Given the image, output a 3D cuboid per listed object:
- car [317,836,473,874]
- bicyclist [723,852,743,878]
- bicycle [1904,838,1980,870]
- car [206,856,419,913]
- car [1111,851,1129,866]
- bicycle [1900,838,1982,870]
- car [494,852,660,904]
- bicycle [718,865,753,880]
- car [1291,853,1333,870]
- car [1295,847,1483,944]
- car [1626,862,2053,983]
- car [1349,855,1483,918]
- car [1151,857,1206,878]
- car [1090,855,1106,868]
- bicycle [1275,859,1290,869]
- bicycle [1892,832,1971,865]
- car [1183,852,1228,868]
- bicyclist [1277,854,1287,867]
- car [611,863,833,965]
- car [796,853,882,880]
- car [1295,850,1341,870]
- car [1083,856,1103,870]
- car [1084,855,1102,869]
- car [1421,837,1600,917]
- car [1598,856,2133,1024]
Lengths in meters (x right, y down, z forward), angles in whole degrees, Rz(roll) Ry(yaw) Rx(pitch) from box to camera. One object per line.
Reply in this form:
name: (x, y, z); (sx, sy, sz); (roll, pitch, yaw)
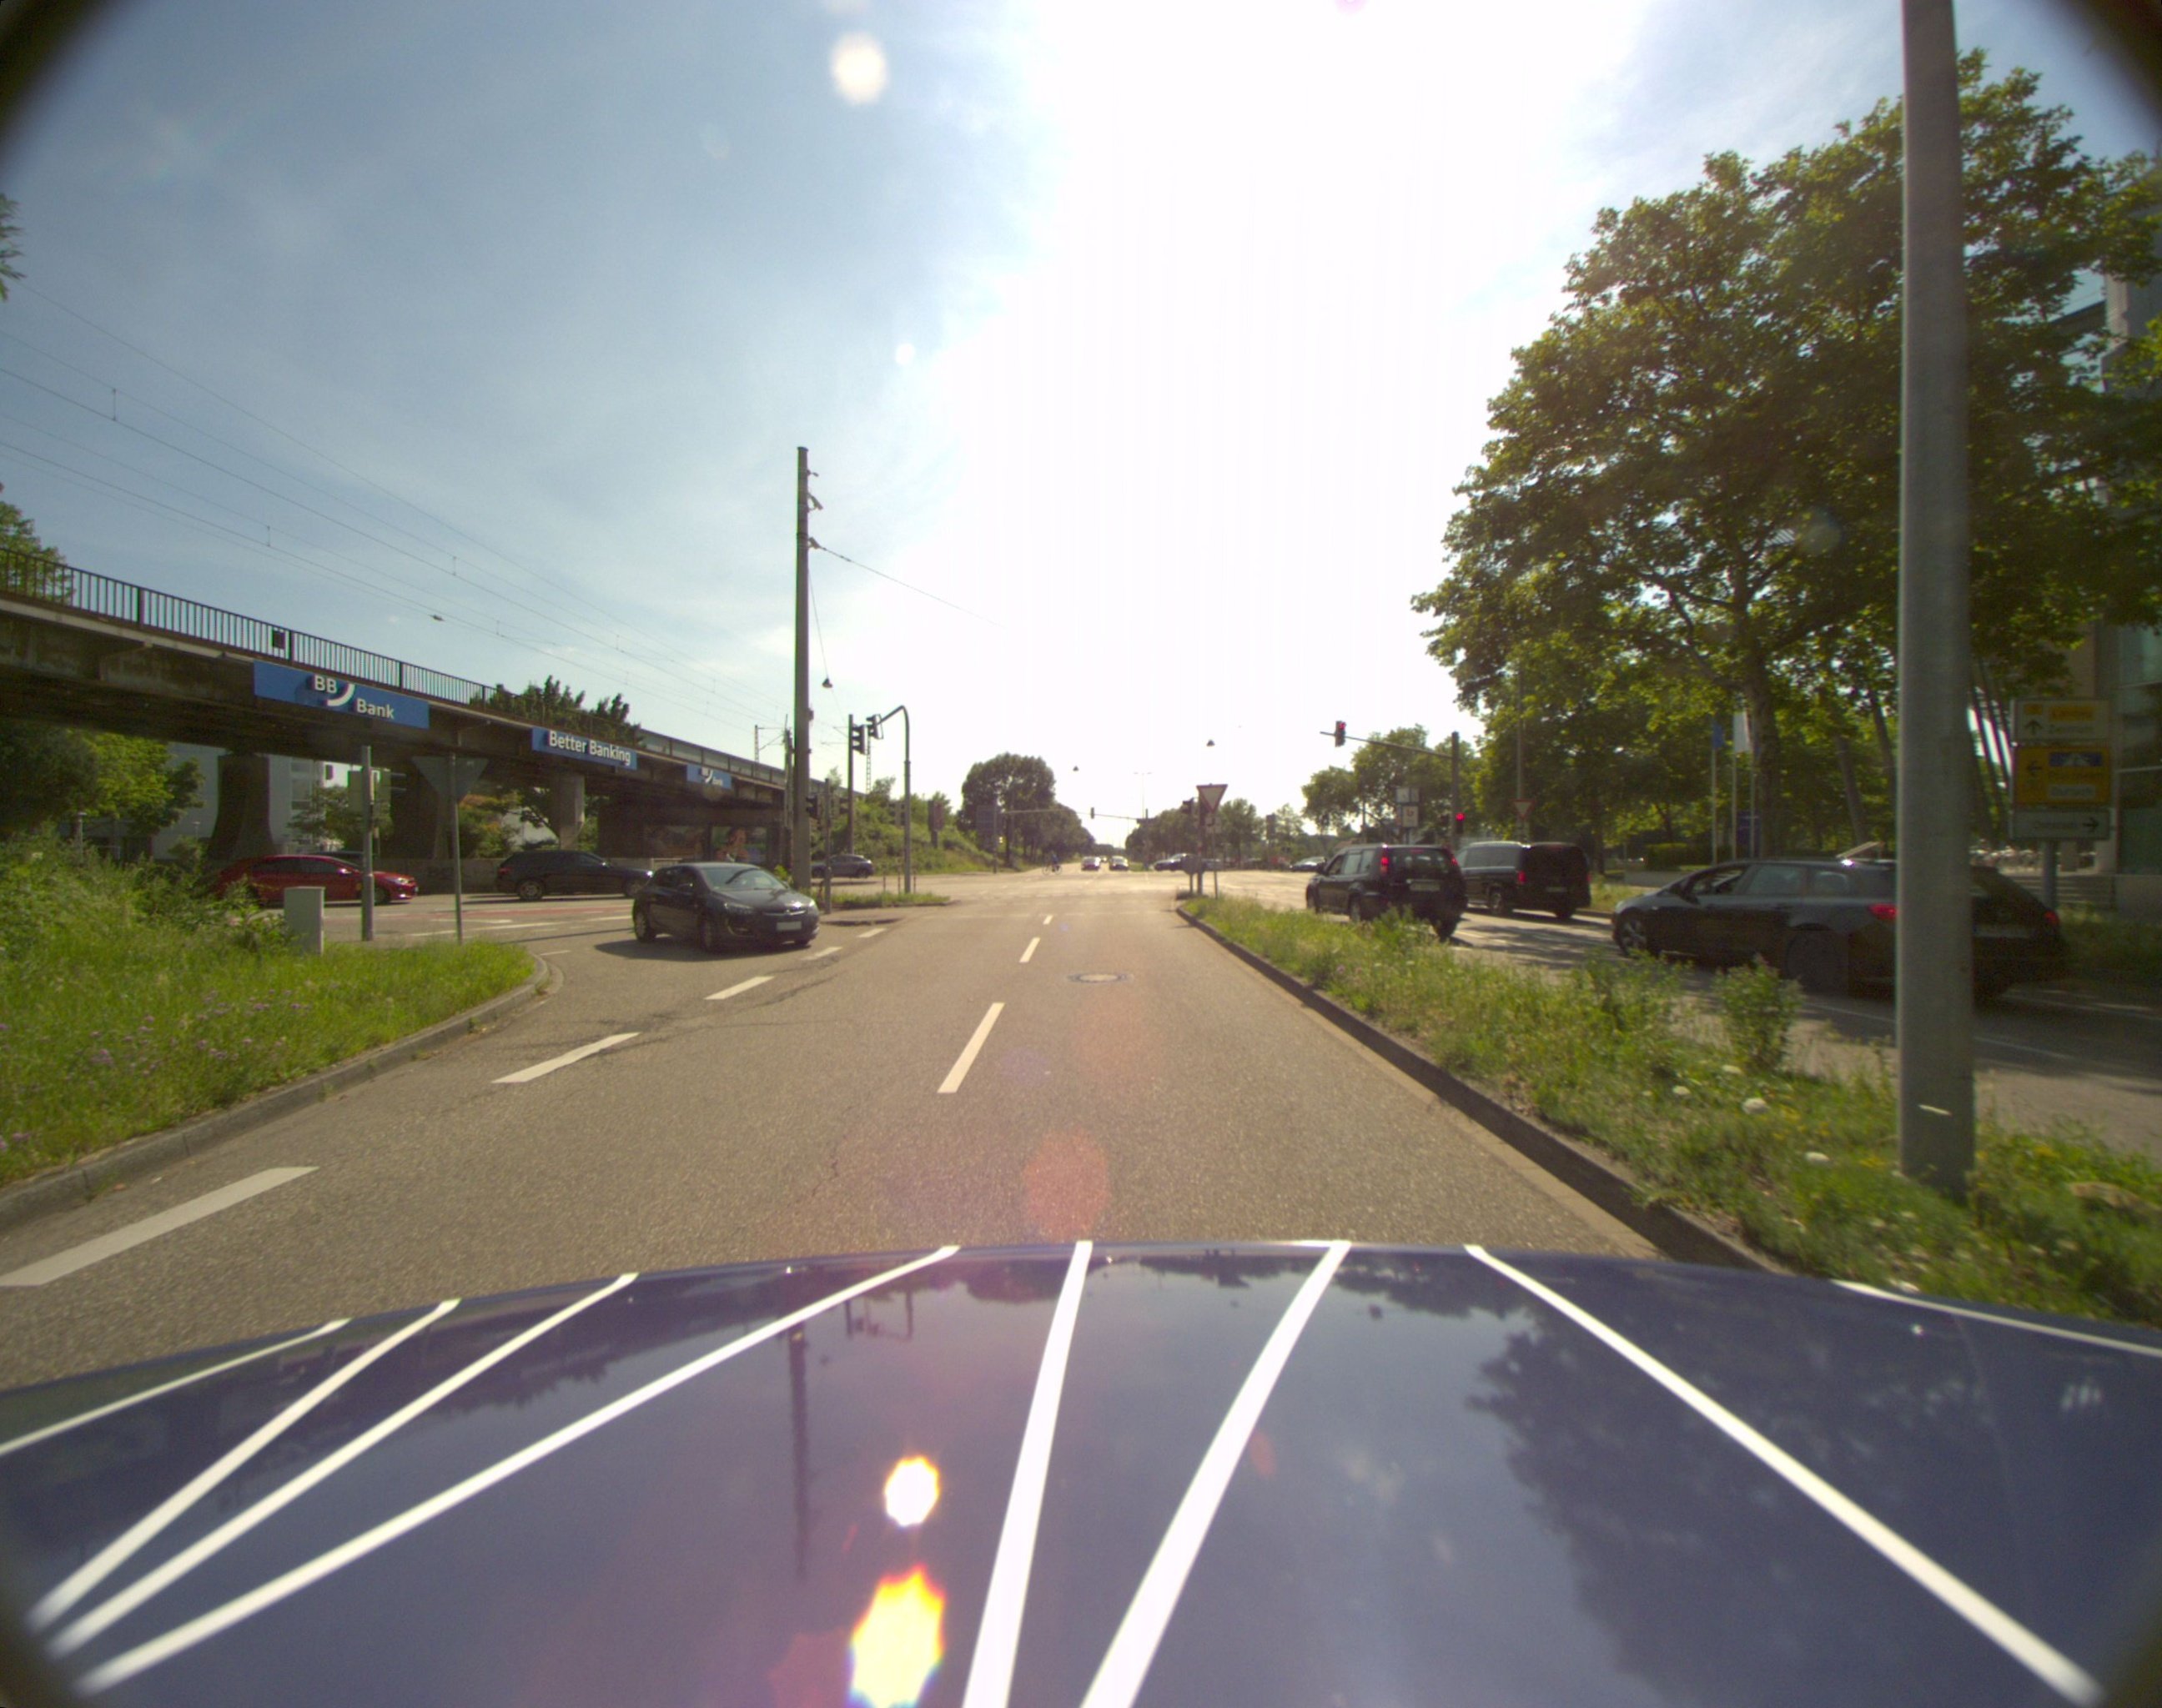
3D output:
car: (-30.461, 0.039, 33.991); (4.984, 1.598, 1.944); (0, 0, -35)
bicyclist: (-21.588, 0.679, 47.173); (1.070, 1.624, 0.805); (0, -2, -28)
bicycle: (31.247, 0.002, 27.604); (0.741, 1.104, 1.795); (-1, 0, -38)
car: (-21.707, 0.808, 21.725); (4.007, 1.412, 1.703); (0, 2, -34)
car: (4.346, 0.547, 83.808); (1.714, 1.498, 4.003); (-1, -2, 6)
bicycle: (30.520, 0.000, 26.981); (0.741, 1.104, 1.881); (-1, 0, -38)
car: (-16.663, 0.739, 25.248); (4.454, 1.586, 1.995); (0, 0, -37)
bicycle: (-21.495, 1.171, 47.218); (1.929, 0.887, 0.816); (0, -2, -28)
car: (22.610, 0.702, 74.317); (4.007, 1.619, 1.768); (0, 1, -32)
car: (5.786, 0.703, 14.954); (1.812, 1.606, 4.490); (0, 0, -1)
car: (11.502, 0.903, 12.230); (1.896, 1.441, 5.004); (1, 0, 1)
car: (8.564, 0.765, 19.819); (1.766, 1.467, 3.958); (0, 0, 0)
car: (7.682, 1.046, 60.113); (4.006, 1.603, 1.815); (0, -2, -30)
car: (2.239, 1.006, 100.344); (1.714, 1.498, 4.003); (-1, -2, 6)
bicycle: (20.889, 1.023, 78.868); (0.773, 1.047, 2.400); (0, 0, -4)
bicycle: (29.772, -0.191, 26.631); (0.741, 1.104, 1.795); (-1, 0, -38)
car: (15.065, 0.774, 91.879); (5.150, 1.713, 2.005); (-3, -3, 44)
bicyclist: (20.886, 0.668, 78.839); (0.773, 1.427, 0.921); (0, 1, -4)
car: (-6.446, 0.933, 13.472); (4.203, 1.498, 1.832); (0, 0, 38)
car: (-14.433, 0.741, 45.407); (4.569, 1.540, 1.826); (0, -1, -33)
car: (21.339, 0.528, 68.323); (4.440, 1.699, 1.994); (0, 0, -44)
car: (1.344, 0.962, 82.268); (1.714, 1.384, 4.003); (-1, -2, 6)
car: (1.420, 0.972, 87.550); (1.714, 1.498, 4.003); (-1, -2, 6)
car: (11.451, 0.586, 20.804); (1.943, 1.908, 5.229); (0, -1, 0)
car: (8.742, 0.799, 9.249); (1.840, 1.454, 4.517); (2, 0, 1)
